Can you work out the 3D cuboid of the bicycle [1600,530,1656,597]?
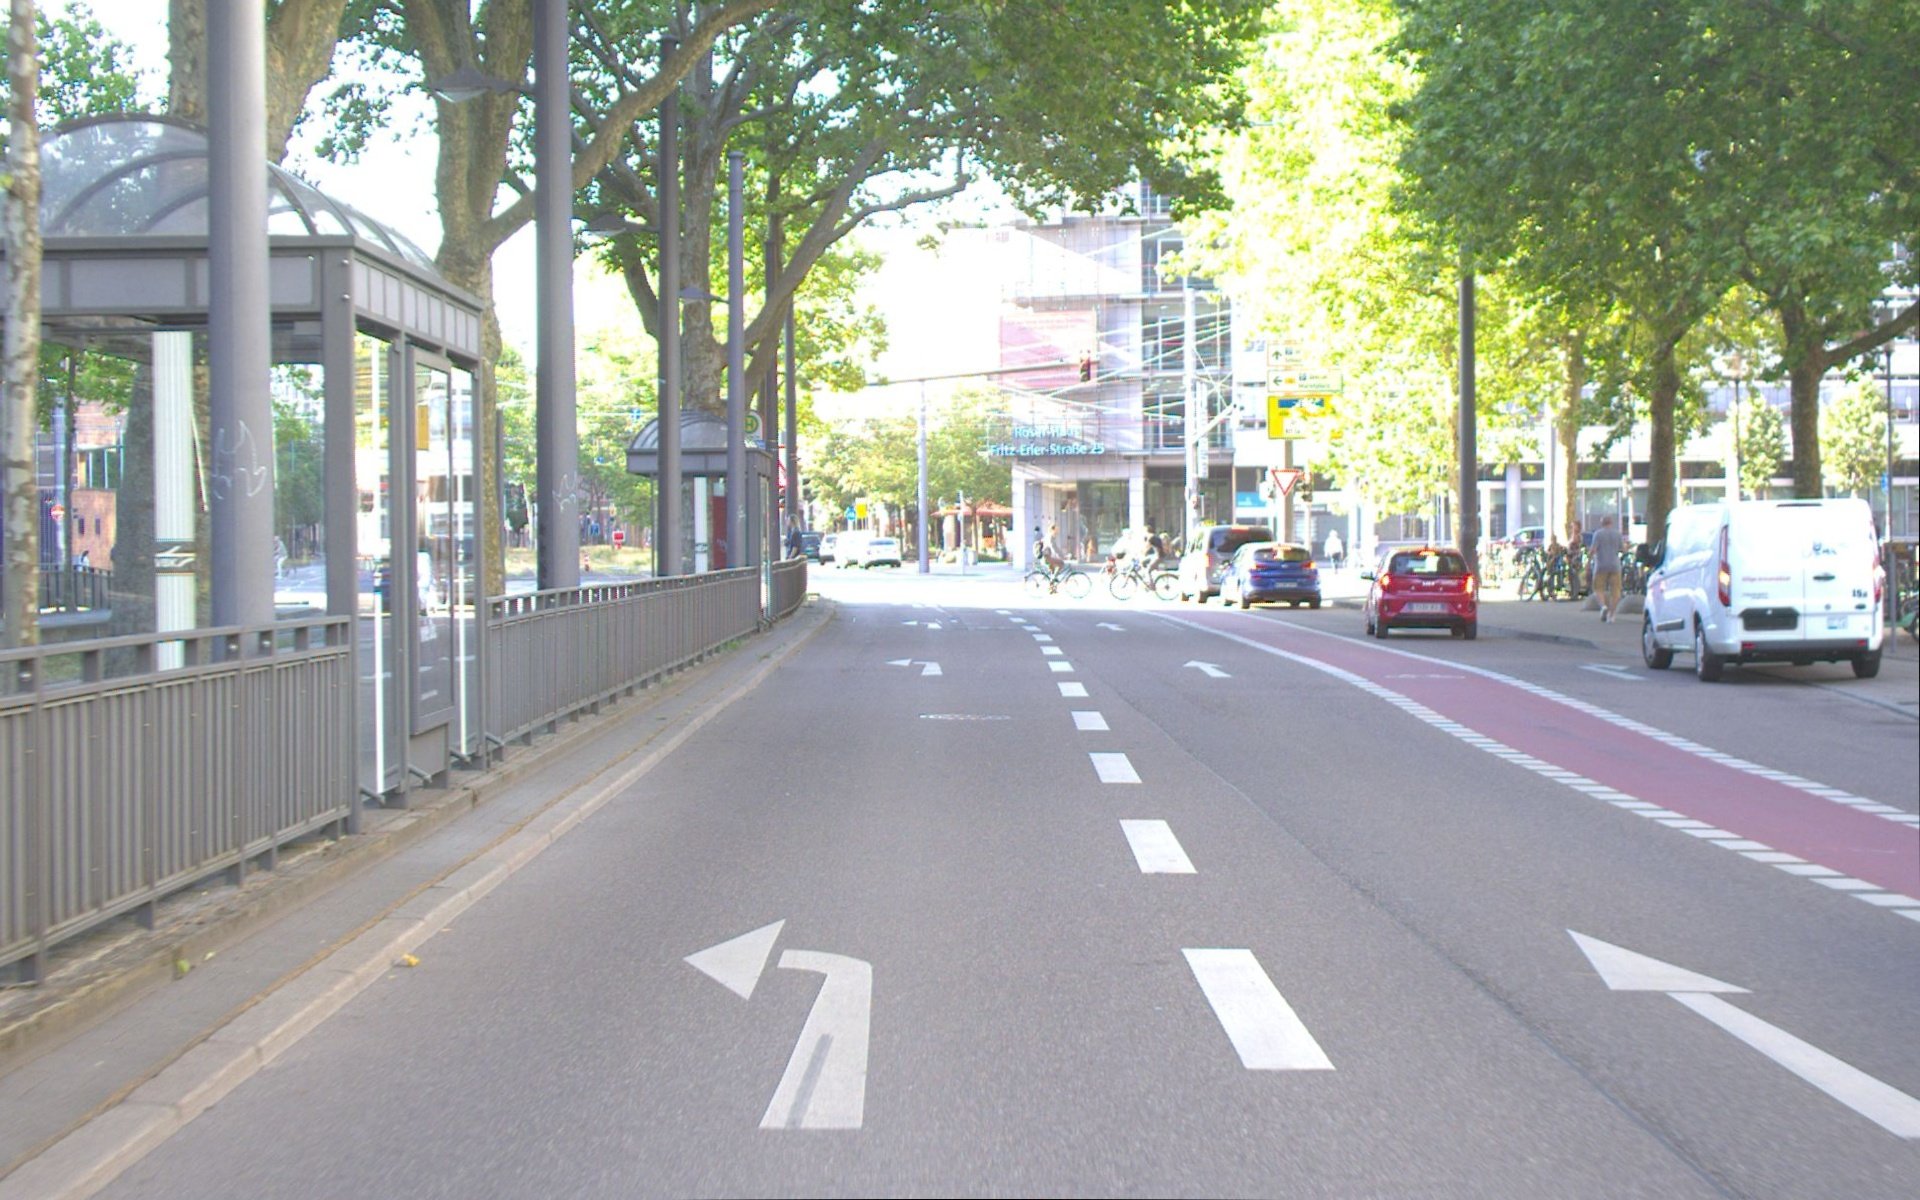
[{"bbox_3d":[13.005,-0.720,66.977,0.595,1.260,1.877,-1,1,-3],"label":"bicycle"}]

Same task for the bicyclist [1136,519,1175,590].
[{"bbox_3d":[4.978,-1.153,87.595,0.849,1.779,0.753,-1,1,-4],"label":"bicyclist"}]

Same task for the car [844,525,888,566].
[{"bbox_3d":[-4.696,-2.723,171.253,1.993,1.985,4.001,-1,1,-3],"label":"car"}]

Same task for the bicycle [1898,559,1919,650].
[{"bbox_3d":[12.660,0.038,44.777,0.663,1.133,2.400,0,1,11],"label":"bicycle"}]

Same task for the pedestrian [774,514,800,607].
[{"bbox_3d":[-3.553,-0.811,70.559,0.509,1.893,0.760,1,0,-2],"label":"pedestrian"}]

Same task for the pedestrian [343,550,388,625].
[{"bbox_3d":[-14.356,-0.295,83.028,1.071,1.800,0.758,0,0,-10],"label":"pedestrian"}]

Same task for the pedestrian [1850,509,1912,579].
[{"bbox_3d":[24.115,-1.460,90.026,1.208,1.816,1.042,1,0,-8],"label":"pedestrian"}]

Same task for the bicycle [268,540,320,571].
[{"bbox_3d":[-27.465,-1.827,141.847,2.090,1.235,0.453,-2,1,-39],"label":"bicycle"}]

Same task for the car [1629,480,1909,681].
[{"bbox_3d":[9.204,-0.267,39.571,2.123,2.127,5.289,-1,1,2],"label":"car"}]

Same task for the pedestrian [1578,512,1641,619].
[{"bbox_3d":[10.968,-0.583,58.065,0.872,1.779,0.809,-1,1,-2],"label":"pedestrian"}]

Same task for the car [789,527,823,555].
[{"bbox_3d":[-9.333,-3.564,208.251,1.993,1.656,4.001,-1,1,-3],"label":"car"}]

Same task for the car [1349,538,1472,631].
[{"bbox_3d":[7.331,-0.282,56.171,1.558,1.459,3.621,0,1,1],"label":"car"}]

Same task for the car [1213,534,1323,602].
[{"bbox_3d":[6.868,-0.737,77.022,1.764,1.459,4.218,-1,1,-4],"label":"car"}]

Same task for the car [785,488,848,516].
[{"bbox_3d":[-9.327,-6.336,223.132,3.763,1.744,1.781,1,0,12],"label":"car"}]

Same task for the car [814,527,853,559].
[{"bbox_3d":[-6.863,-3.102,186.586,1.993,1.656,4.001,-1,1,-3],"label":"car"}]

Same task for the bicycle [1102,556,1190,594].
[{"bbox_3d":[4.736,-0.640,87.584,2.177,0.930,0.668,-1,1,-4],"label":"bicycle"}]

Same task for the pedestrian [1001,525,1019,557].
[{"bbox_3d":[2.229,-2.652,154.403,0.739,1.460,0.537,-1,1,-5],"label":"pedestrian"}]

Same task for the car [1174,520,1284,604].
[{"bbox_3d":[6.506,-0.942,83.691,1.993,1.959,5.138,1,1,-3],"label":"car"}]

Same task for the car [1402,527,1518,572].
[{"bbox_3d":[18.858,-1.909,129.860,4.241,1.596,1.795,-1,1,6],"label":"car"}]

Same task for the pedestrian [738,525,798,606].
[{"bbox_3d":[-3.338,-0.601,59.826,0.977,1.395,0.664,1,0,2],"label":"pedestrian"}]

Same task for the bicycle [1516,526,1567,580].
[{"bbox_3d":[12.309,-0.996,72.691,0.596,1.112,1.824,-1,1,24],"label":"bicycle"}]

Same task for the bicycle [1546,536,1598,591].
[{"bbox_3d":[12.857,-0.771,72.173,0.596,1.112,1.947,-1,1,24],"label":"bicycle"}]

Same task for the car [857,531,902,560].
[{"bbox_3d":[-3.869,-2.632,164.509,1.993,1.327,4.001,-1,1,-3],"label":"car"}]

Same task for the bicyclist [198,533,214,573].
[{"bbox_3d":[-31.958,-2.005,145.688,0.593,1.670,0.790,-1,1,-9],"label":"bicyclist"}]

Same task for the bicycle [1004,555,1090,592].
[{"bbox_3d":[2.260,-0.696,89.686,2.177,0.930,0.668,-1,1,-4],"label":"bicycle"}]

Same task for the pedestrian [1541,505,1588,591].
[{"bbox_3d":[12.724,-1.098,72.347,0.807,1.779,0.657,-1,1,23],"label":"pedestrian"}]

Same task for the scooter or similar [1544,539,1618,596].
[{"bbox_3d":[13.343,-0.693,73.907,1.252,1.138,0.916,2,-1,-16],"label":"scooter or similar"}]

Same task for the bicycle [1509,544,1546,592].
[{"bbox_3d":[12.714,-0.716,77.014,0.627,1.053,1.572,-1,1,3],"label":"bicycle"}]

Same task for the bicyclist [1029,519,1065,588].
[{"bbox_3d":[2.267,-1.212,89.675,0.849,1.761,0.753,-1,1,-4],"label":"bicyclist"}]
